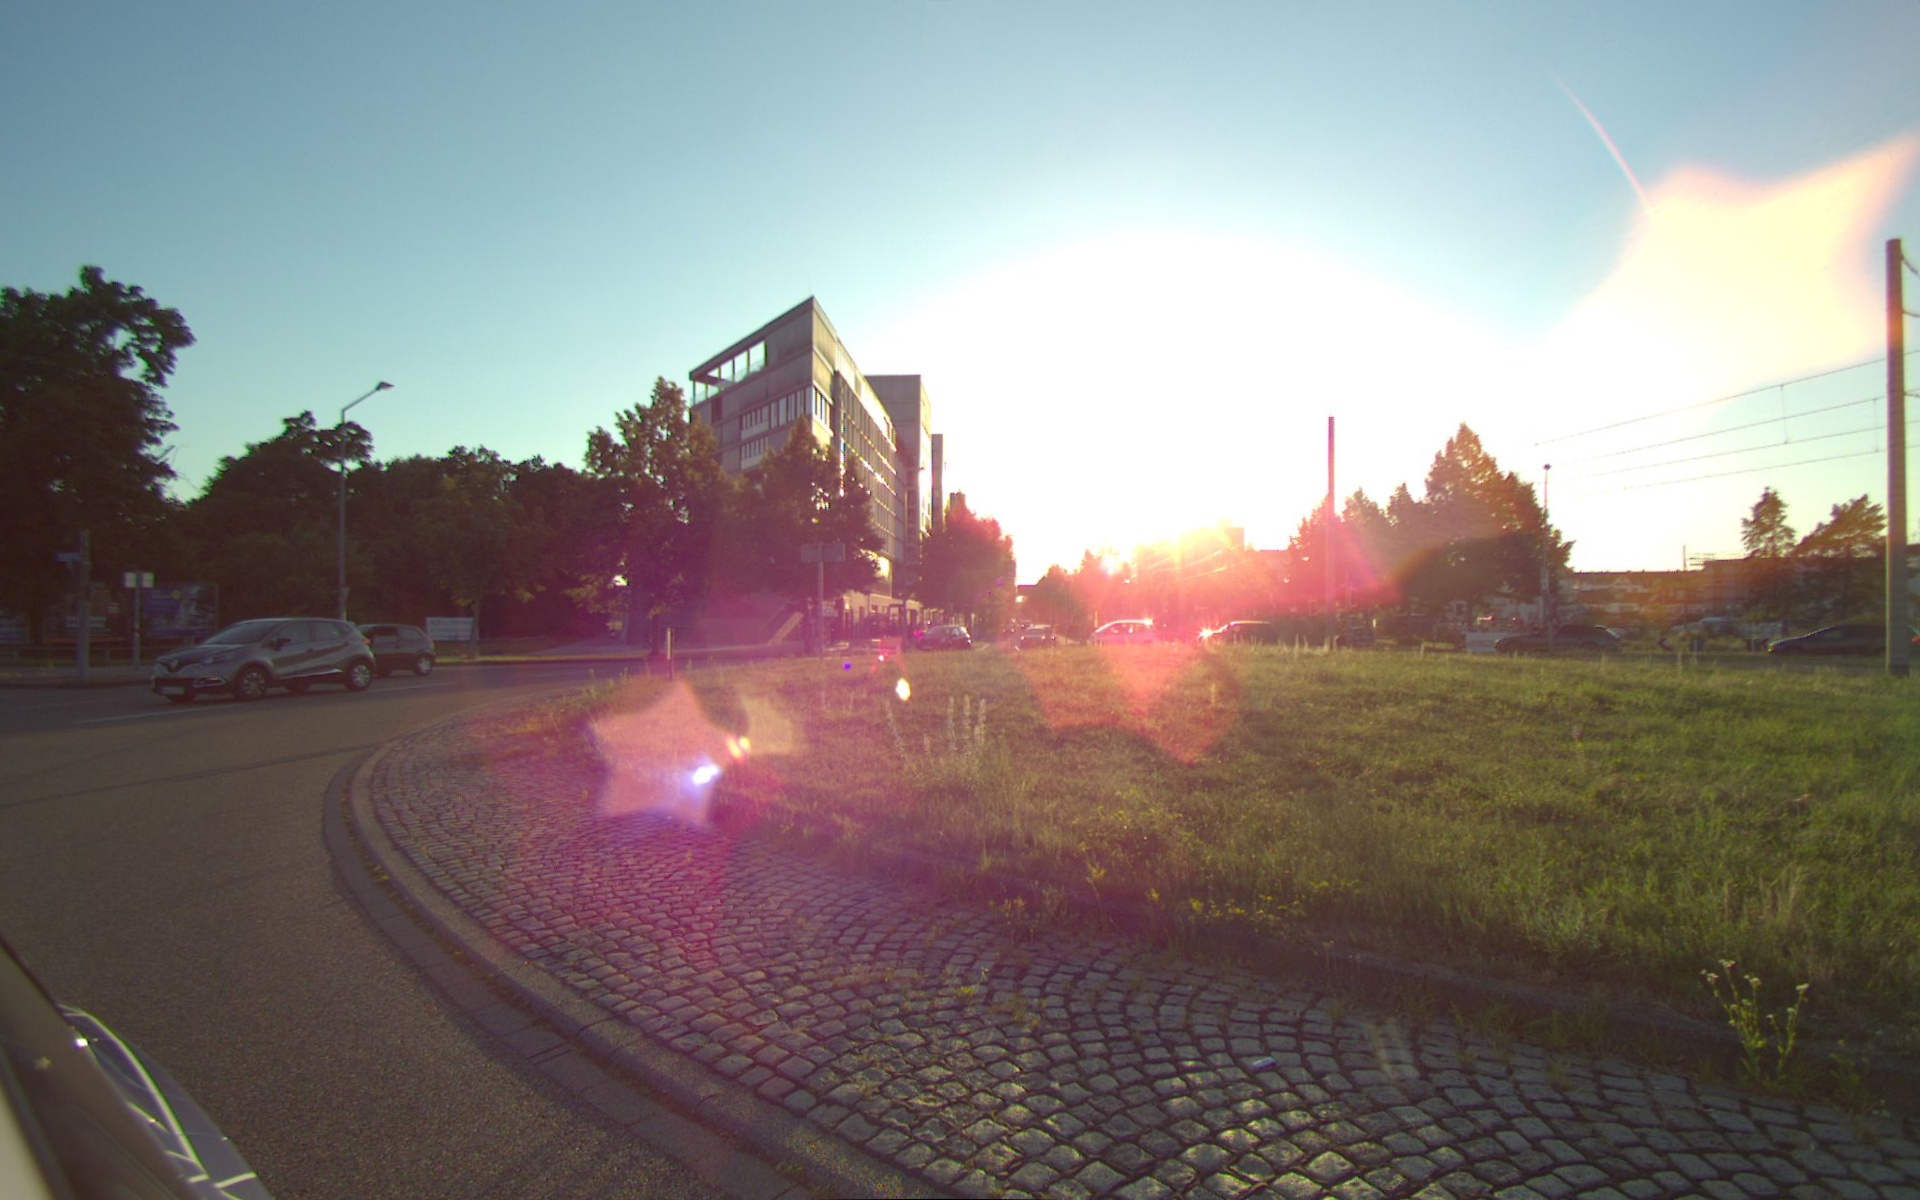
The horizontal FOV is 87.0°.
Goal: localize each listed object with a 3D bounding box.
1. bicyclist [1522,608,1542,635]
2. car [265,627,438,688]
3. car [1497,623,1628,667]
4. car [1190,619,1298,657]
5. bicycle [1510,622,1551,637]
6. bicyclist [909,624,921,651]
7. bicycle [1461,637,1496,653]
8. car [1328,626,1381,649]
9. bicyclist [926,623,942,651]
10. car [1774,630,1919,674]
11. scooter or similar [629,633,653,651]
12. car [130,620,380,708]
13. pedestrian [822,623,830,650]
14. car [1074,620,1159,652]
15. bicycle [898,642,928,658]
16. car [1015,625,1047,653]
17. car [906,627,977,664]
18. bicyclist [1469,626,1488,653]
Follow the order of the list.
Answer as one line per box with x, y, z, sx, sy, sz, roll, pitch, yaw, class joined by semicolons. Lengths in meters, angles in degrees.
34.240;1.292;60.541;0.684;1.646;0.800;1;-3;-37;bicyclist
-15.946;1.464;26.785;1.727;1.450;3.986;-1;-1;11;car
25.573;1.904;43.070;4.591;1.761;1.729;-2;-2;38;car
13.377;1.780;47.832;4.528;1.761;1.753;0;-2;-4;car
34.240;1.771;60.746;0.504;0.852;2.140;1;-3;-37;bicycle
-2.834;2.331;63.349;0.674;1.660;0.685;0;-2;-6;bicyclist
32.105;2.760;62.639;1.821;0.988;0.549;-1;-2;7;bicycle
25.584;2.414;65.803;1.726;1.457;4.135;0;-2;-1;car
-1.644;2.370;64.508;0.840;1.769;0.801;-1;-2;10;bicyclist
32.015;1.836;36.286;1.724;1.478;4.140;1;-3;-41;car
-21.490;2.834;68.211;1.562;1.229;0.365;-1;-2;14;scooter or similar
-13.648;1.169;19.912;1.727;1.548;3.986;-1;-1;11;car
-10.376;2.824;78.427;0.532;2.029;0.527;-1;-2;3;pedestrian
7.321;1.680;47.530;3.653;1.476;1.609;0;-2;-7;car
-2.918;3.119;63.091;1.834;1.030;0.308;0;-2;-6;bicycle
4.549;2.463;64.602;1.756;1.715;3.990;0;-1;8;car
-0.811;2.098;47.685;1.767;1.633;3.965;-1;-1;25;car
32.085;2.461;62.623;0.805;1.653;0.813;-1;-2;7;bicyclist
